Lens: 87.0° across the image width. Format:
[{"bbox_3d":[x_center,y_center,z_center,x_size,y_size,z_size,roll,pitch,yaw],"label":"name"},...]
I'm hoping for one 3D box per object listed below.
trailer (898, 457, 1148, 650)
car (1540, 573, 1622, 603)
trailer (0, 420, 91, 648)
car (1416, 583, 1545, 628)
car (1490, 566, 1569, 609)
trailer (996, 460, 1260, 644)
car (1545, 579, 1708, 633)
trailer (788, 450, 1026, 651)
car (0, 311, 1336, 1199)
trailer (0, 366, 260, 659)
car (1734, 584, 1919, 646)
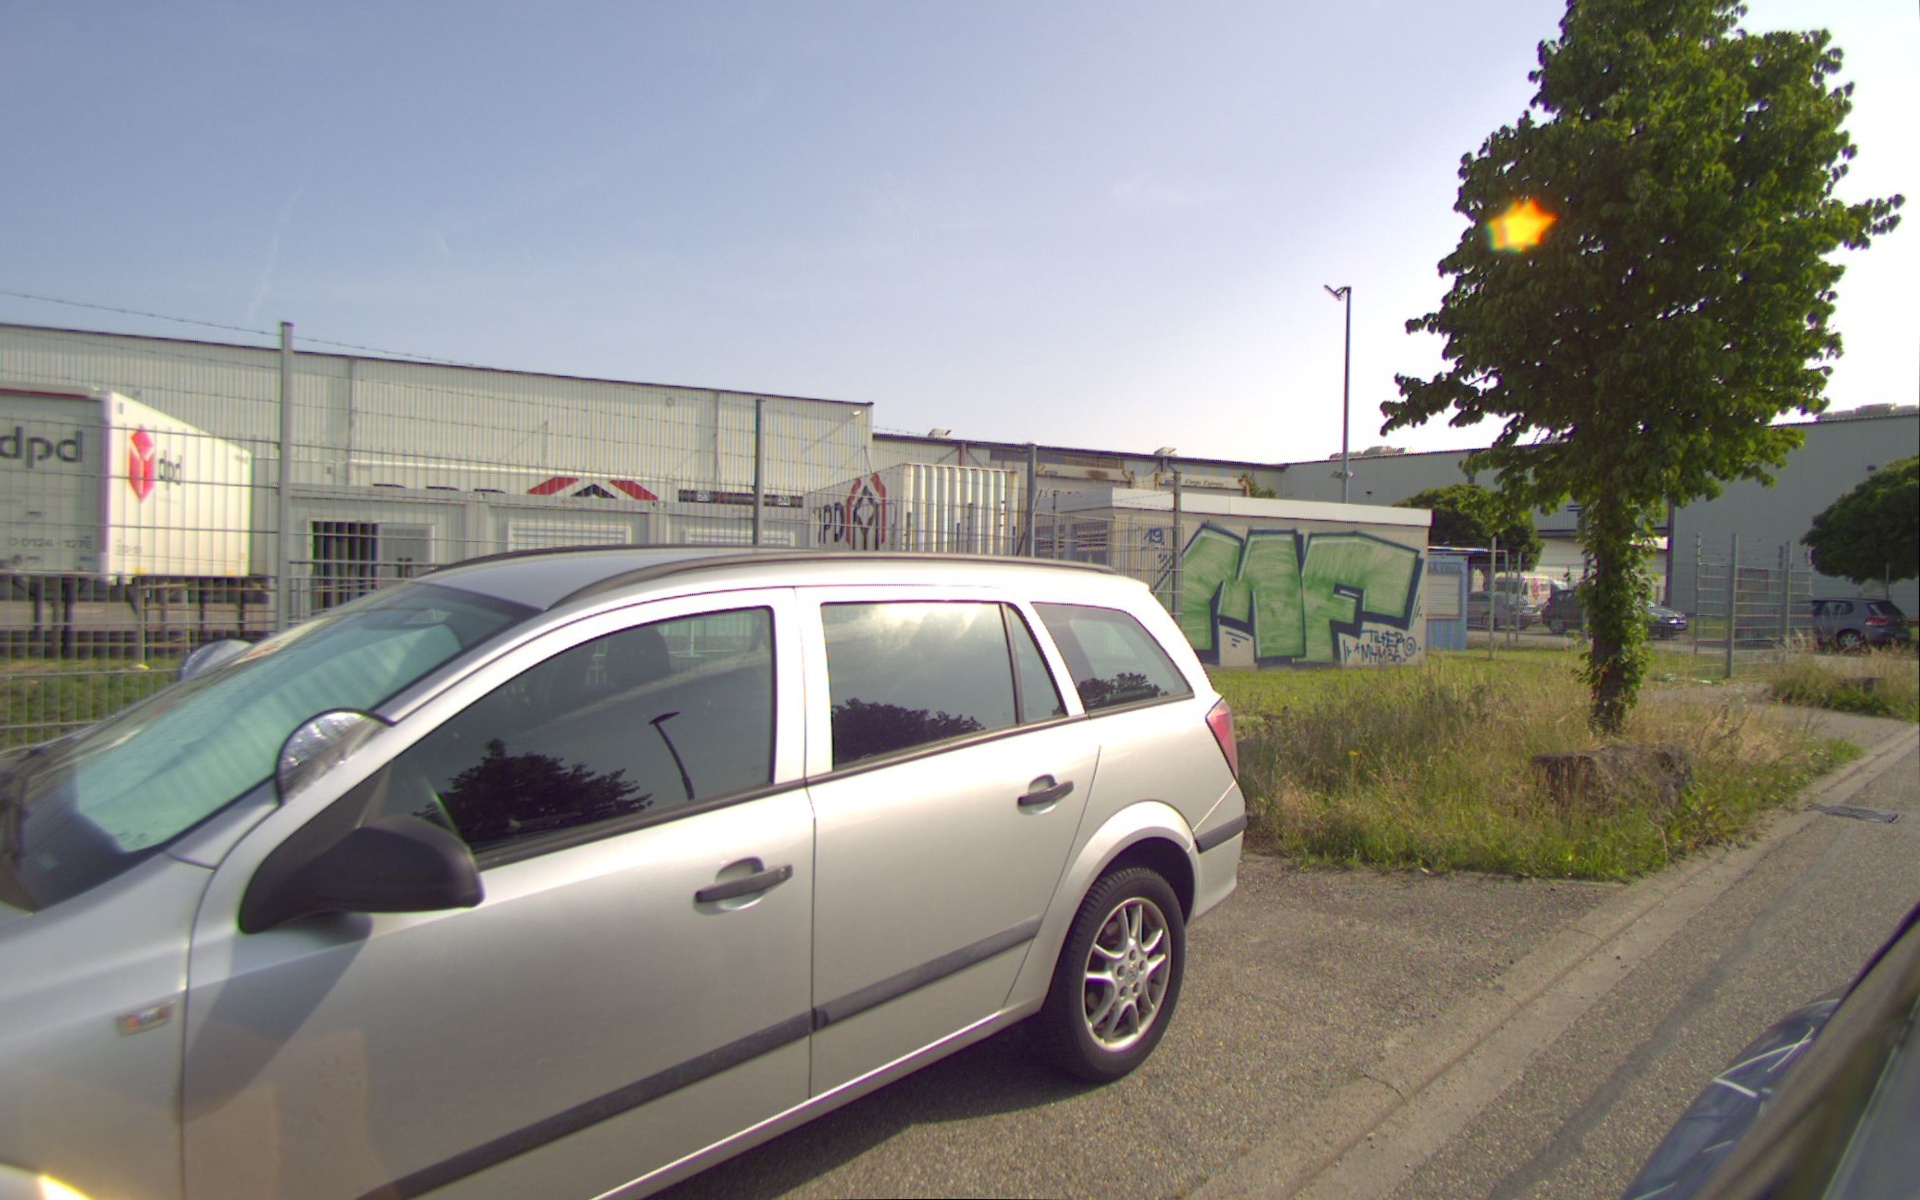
[{"bbox_3d":[1.131,-1.087,25.146,2.717,3.941,8.584,1,2,-22],"label":"trailer"},{"bbox_3d":[46.555,-0.936,75.934,1.896,2.110,4.847,0,2,-38],"label":"car"},{"bbox_3d":[-17.715,-1.168,16.559,2.718,3.944,8.578,2,-1,-23],"label":"trailer"},{"bbox_3d":[19.936,0.158,38.974,1.692,1.536,4.502,-2,2,-19],"label":"car"},{"bbox_3d":[35.696,-0.809,63.319,6.584,2.548,2.172,-1,2,-41],"label":"car"},{"bbox_3d":[3.893,-1.150,26.160,2.718,3.942,8.582,-2,2,-21],"label":"trailer"},{"bbox_3d":[22.068,0.209,33.712,1.838,1.646,4.276,2,-1,-21],"label":"car"},{"bbox_3d":[-1.646,-0.984,23.743,2.732,3.808,8.777,0,0,-23],"label":"trailer"},{"bbox_3d":[-0.943,0.428,2.673,4.374,1.646,1.802,0,3,-43],"label":"car"},{"bbox_3d":[-14.811,-1.142,17.476,2.718,3.944,8.578,2,-1,-23],"label":"trailer"},{"bbox_3d":[24.501,0.367,28.499,1.692,1.542,3.970,-2,2,-21],"label":"car"}]
